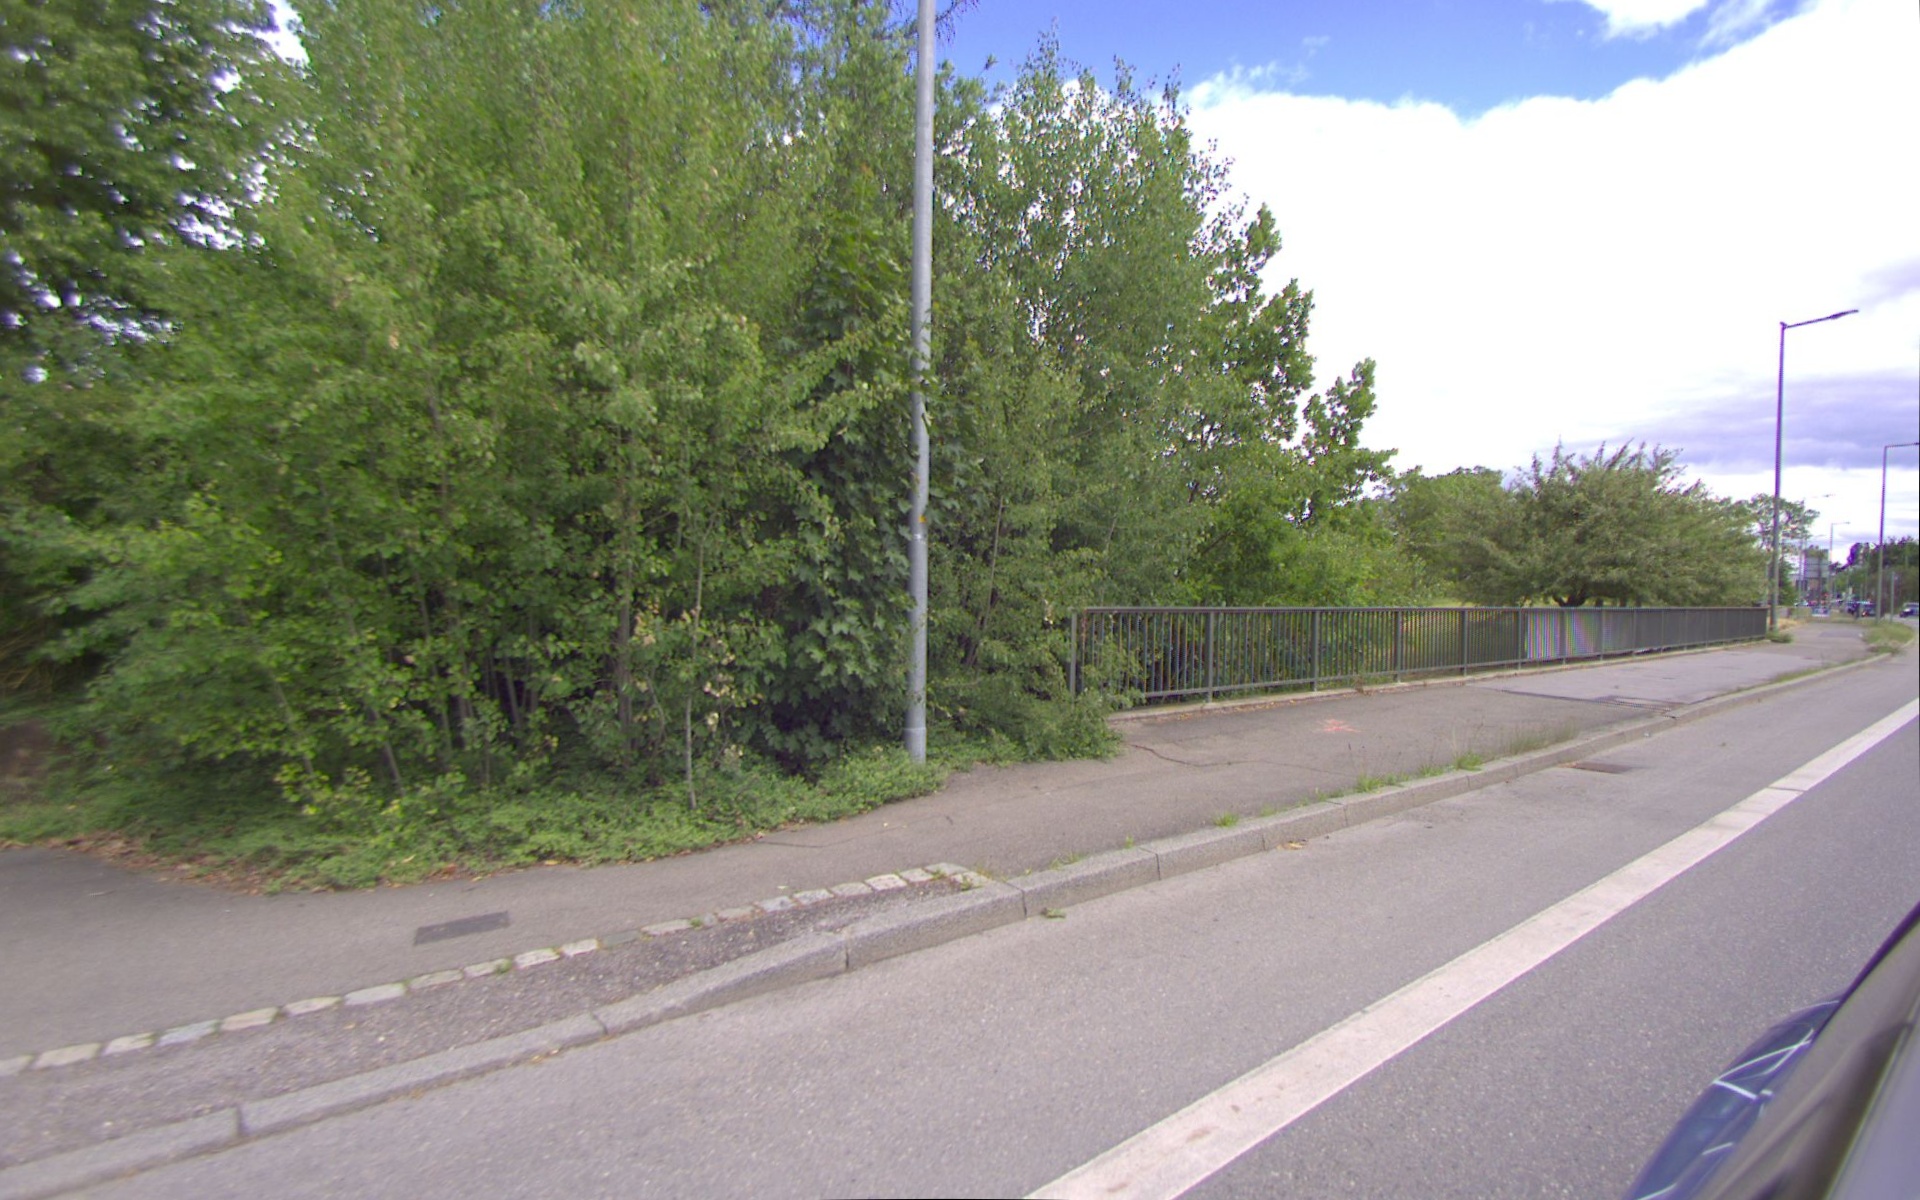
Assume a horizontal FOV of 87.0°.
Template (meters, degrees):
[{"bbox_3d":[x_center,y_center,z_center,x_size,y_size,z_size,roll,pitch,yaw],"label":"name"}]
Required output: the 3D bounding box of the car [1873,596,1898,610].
[{"bbox_3d":[95.461,0.318,104.434,1.729,1.459,4.305,0,0,40],"label":"car"}]

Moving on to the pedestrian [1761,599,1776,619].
[{"bbox_3d":[77.226,0.844,96.669,0.785,1.907,0.766,0,0,0],"label":"pedestrian"}]
